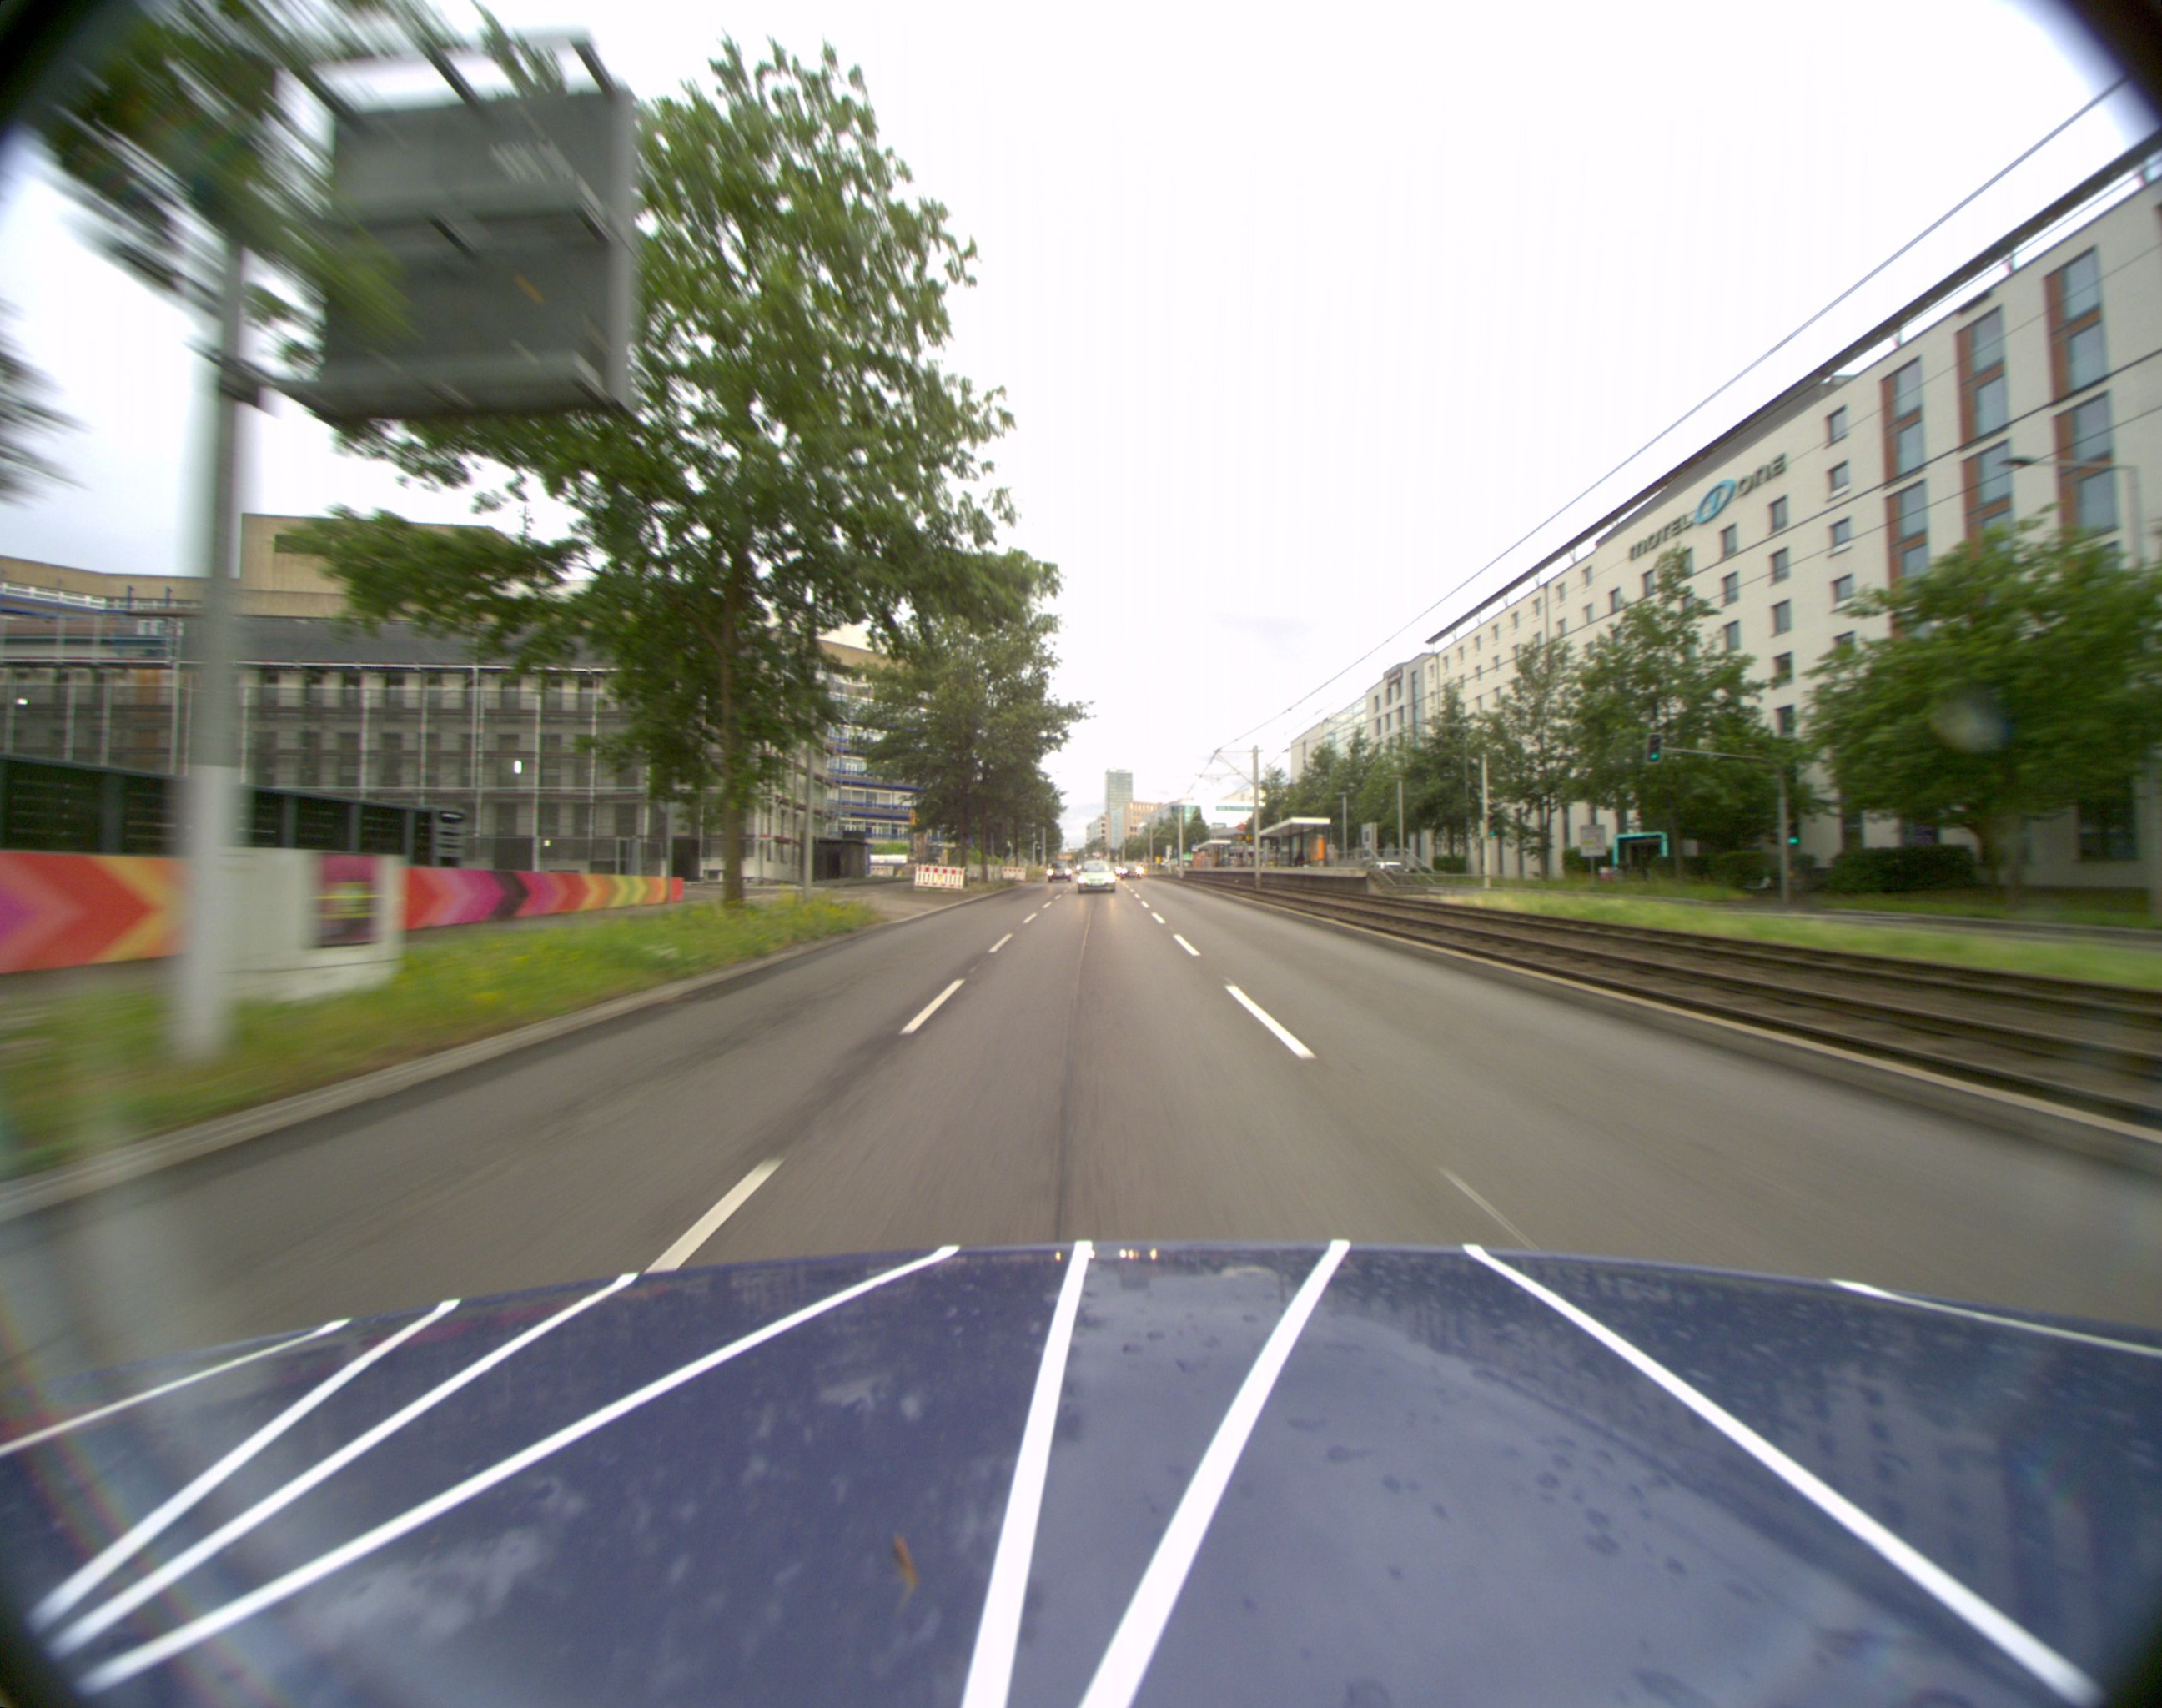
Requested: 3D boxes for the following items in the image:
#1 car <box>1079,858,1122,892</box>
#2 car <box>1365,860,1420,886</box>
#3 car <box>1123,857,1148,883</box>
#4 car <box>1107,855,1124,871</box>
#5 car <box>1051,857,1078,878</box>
[{"bbox_3d":[0.975,0.978,35.980,1.828,1.499,4.116,-2,-1,4],"label":"car"},{"bbox_3d":[17.624,1.047,43.118,1.701,1.356,3.561,2,0,2],"label":"car"},{"bbox_3d":[4.535,1.289,63.680,1.998,2.002,4.000,-2,1,3],"label":"car"},{"bbox_3d":[4.182,1.127,91.581,1.860,1.798,4.116,-2,-2,3],"label":"car"},{"bbox_3d":[-1.296,1.136,61.457,1.828,1.599,4.116,-2,-2,4],"label":"car"}]
